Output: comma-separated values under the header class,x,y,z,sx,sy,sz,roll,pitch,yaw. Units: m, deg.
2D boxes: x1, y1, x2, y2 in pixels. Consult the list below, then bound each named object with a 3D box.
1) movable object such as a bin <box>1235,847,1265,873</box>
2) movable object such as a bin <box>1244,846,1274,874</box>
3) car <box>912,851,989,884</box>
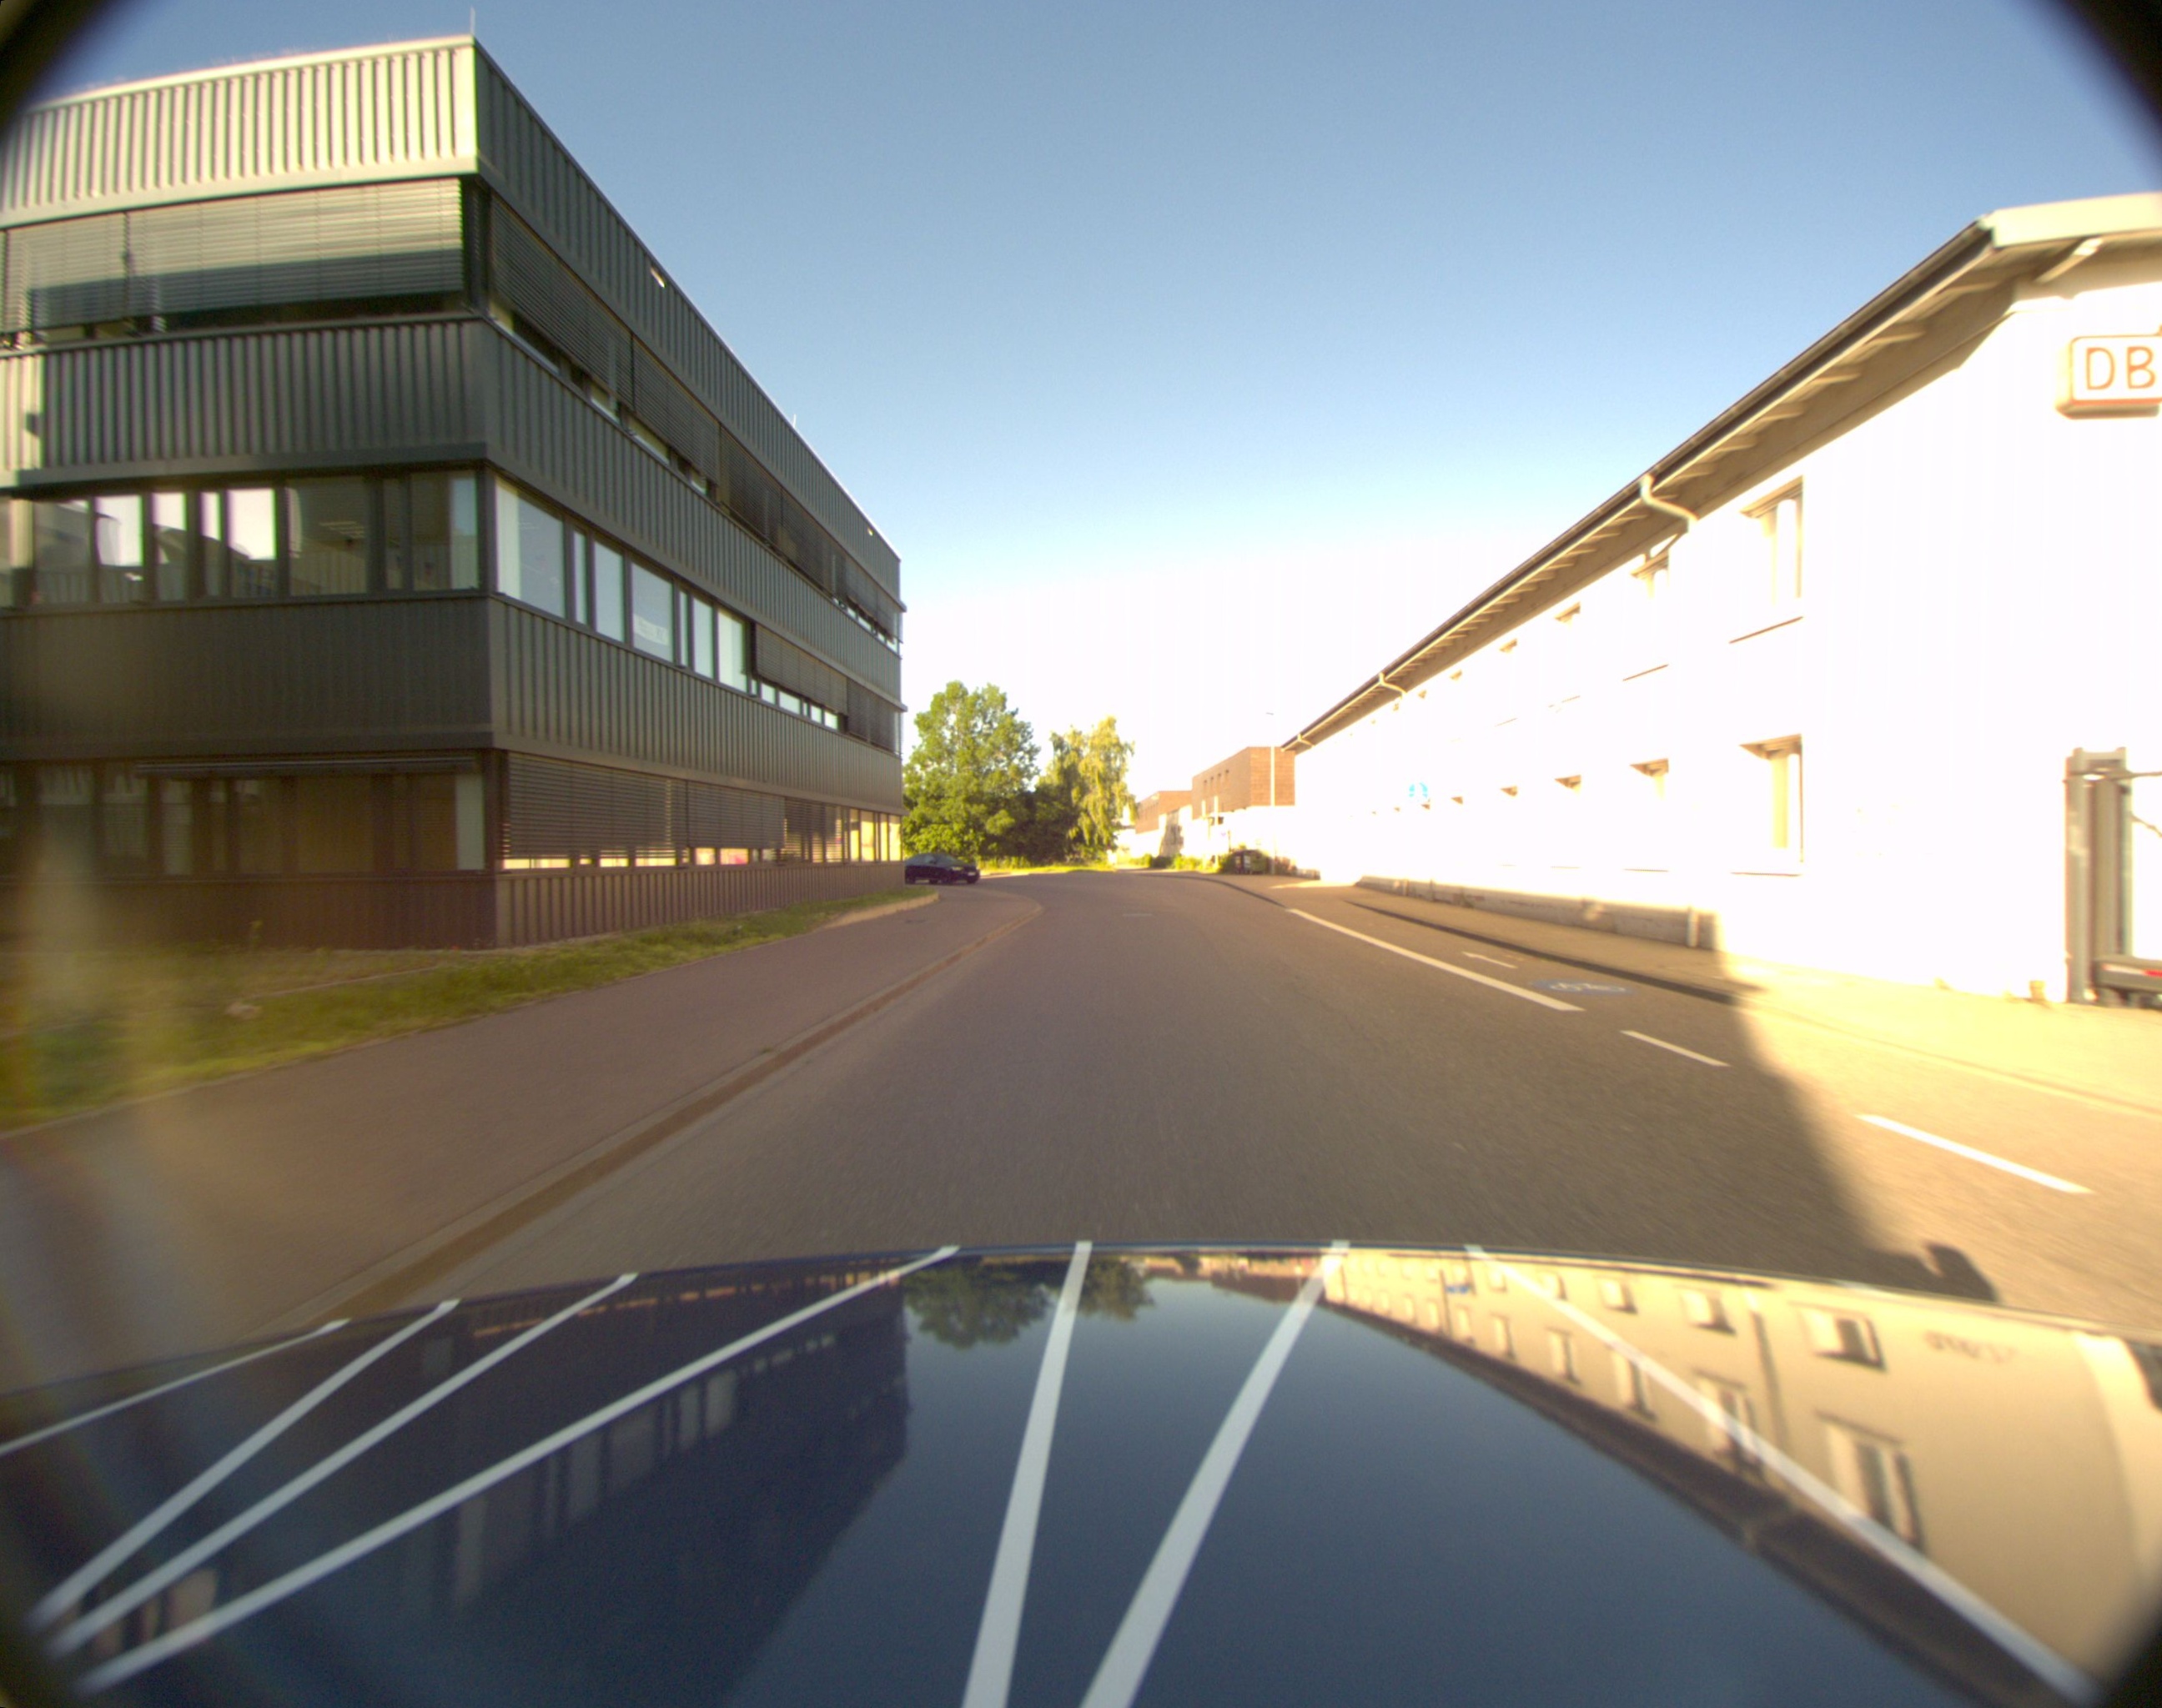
class,x,y,z,sx,sy,sz,roll,pitch,yaw
movable object such as a bin,9.706,0.317,43.670,1.364,1.463,1.288,-1,1,-7
movable object such as a bin,9.878,0.324,42.296,1.202,1.463,1.372,-1,1,-7
car,-7.004,0.663,40.420,2.042,1.623,4.600,-2,1,-39
